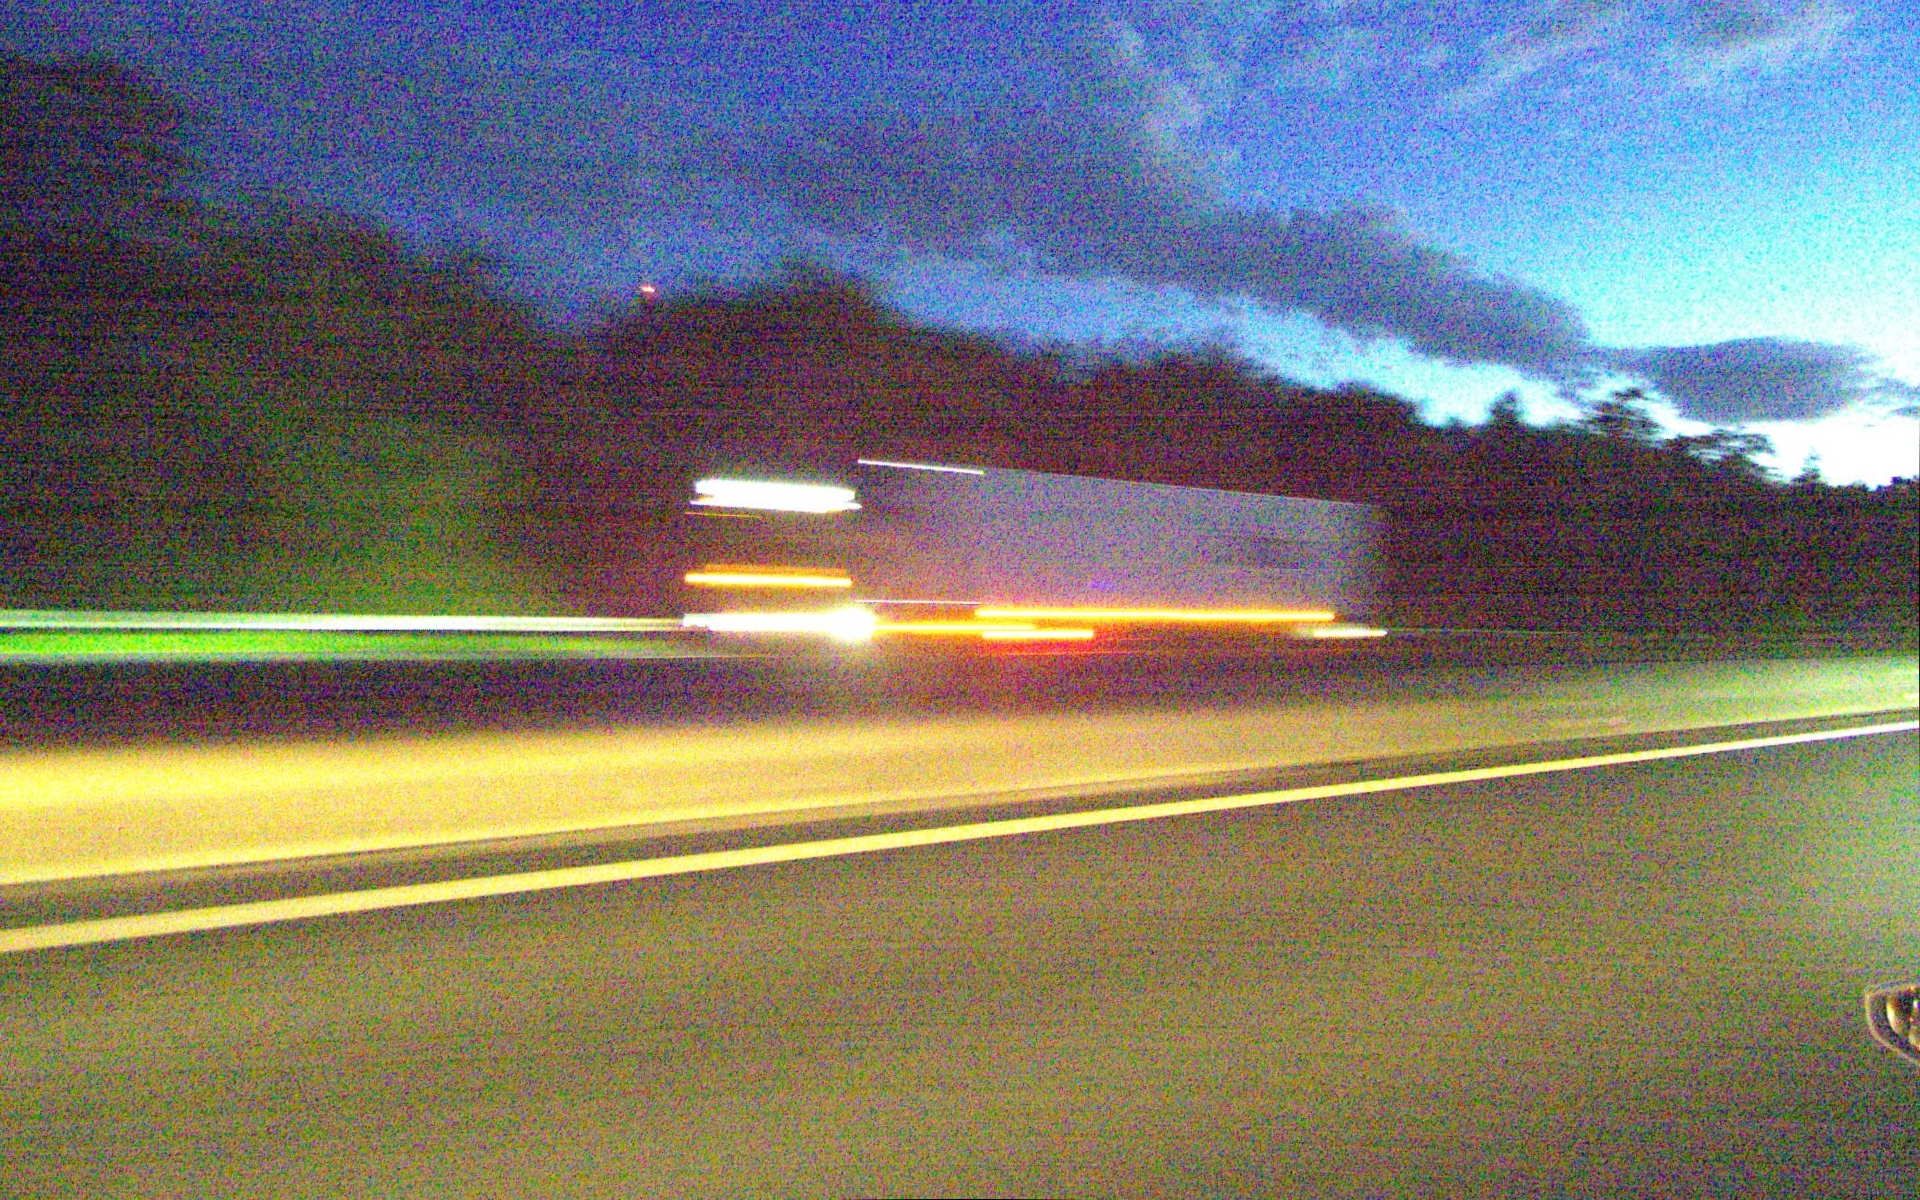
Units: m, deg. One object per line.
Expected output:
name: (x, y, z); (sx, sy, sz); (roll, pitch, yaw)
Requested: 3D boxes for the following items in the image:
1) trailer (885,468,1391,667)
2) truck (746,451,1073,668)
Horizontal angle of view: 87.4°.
trailer: (5.002, -0.511, 25.363); (13.652, 4.033, 3.413); (2, 0, -31)
truck: (-1.070, -0.693, 21.716); (6.135, 4.033, 3.413); (2, 0, -31)
